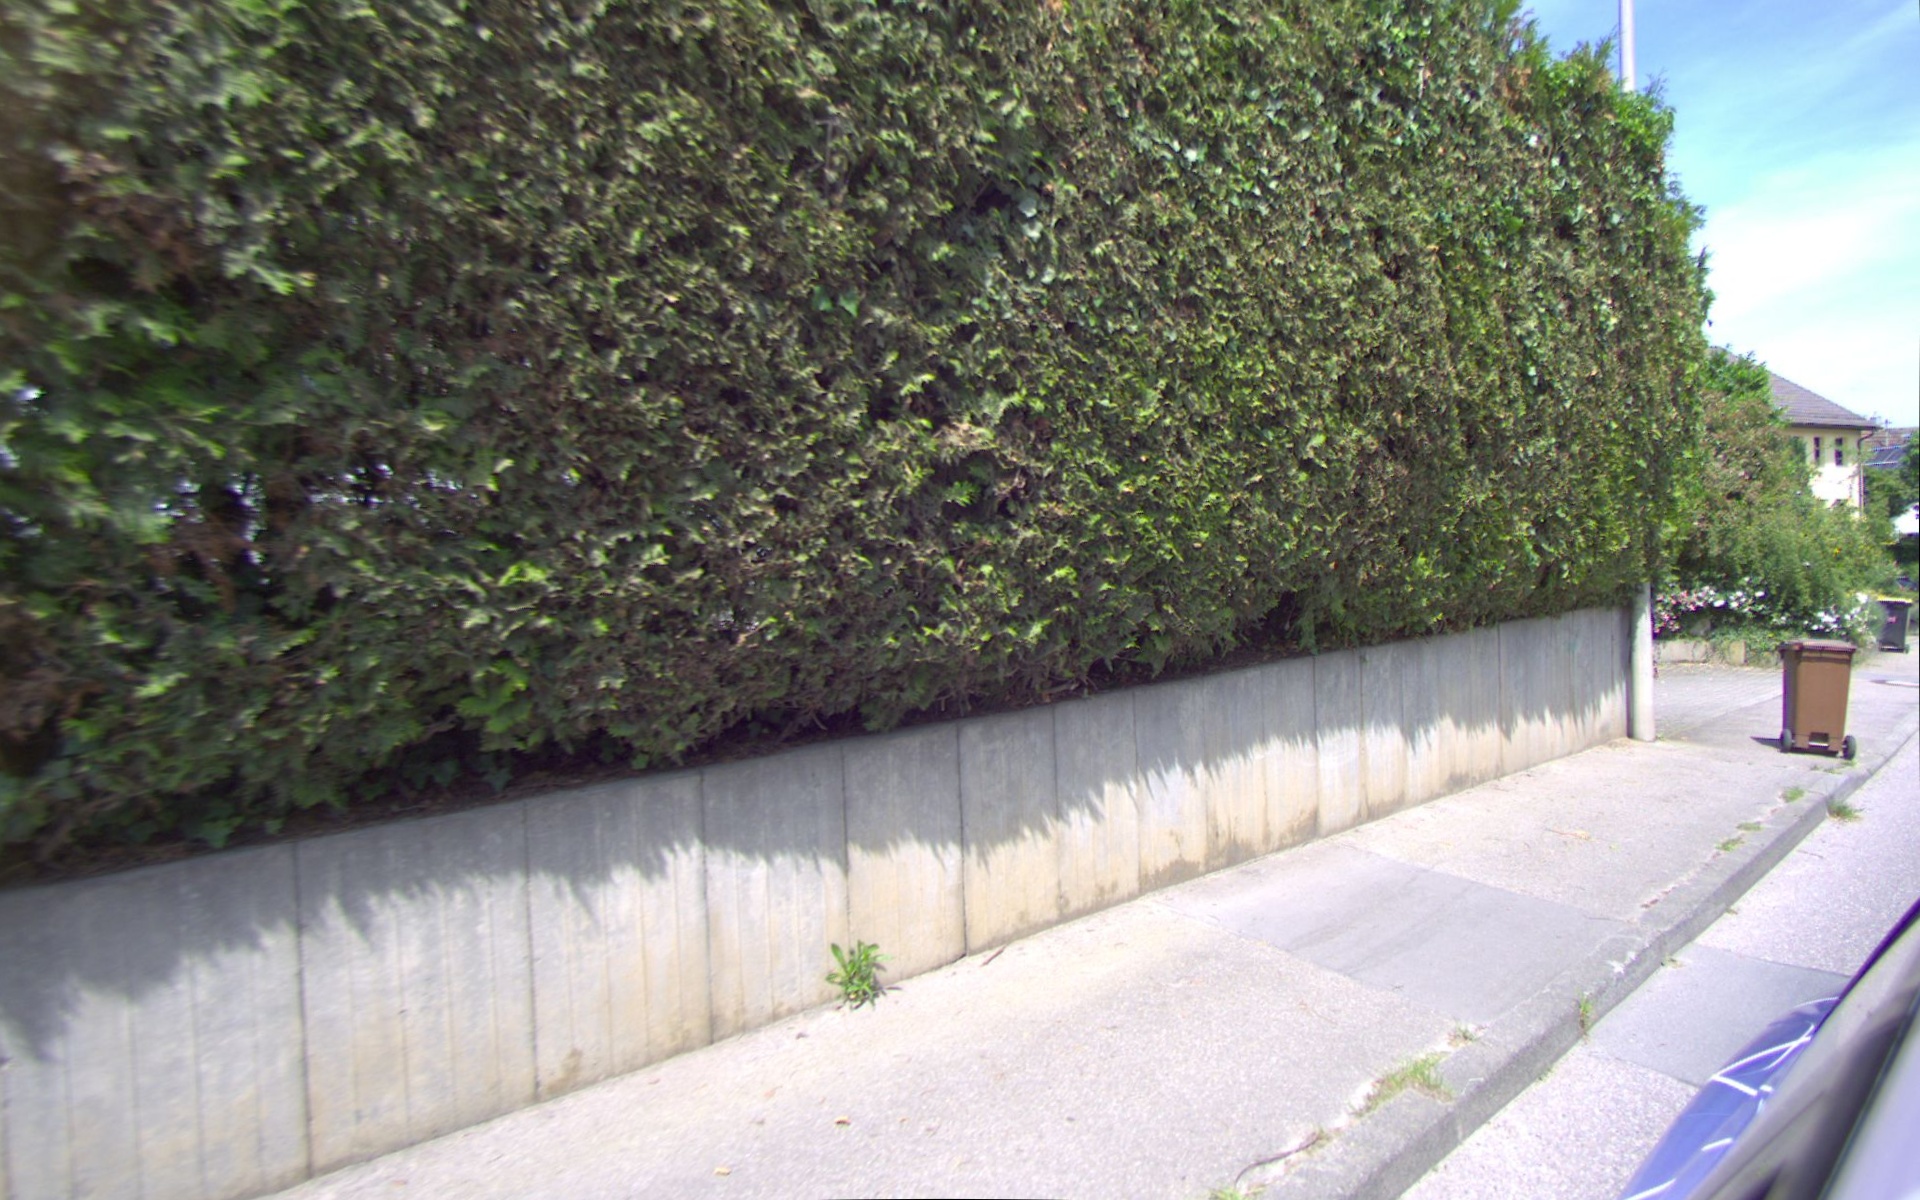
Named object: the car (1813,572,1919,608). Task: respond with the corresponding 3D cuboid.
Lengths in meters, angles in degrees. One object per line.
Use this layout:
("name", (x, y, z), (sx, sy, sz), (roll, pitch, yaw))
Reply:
("car", (38.631, -0.398, 42.666), (1.610, 1.436, 3.699), (-1, 0, -23))

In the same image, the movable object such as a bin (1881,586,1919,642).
("movable object such as a bin", (18.882, 0.264, 20.214), (0.903, 1.072, 0.589), (-2, 1, -39))

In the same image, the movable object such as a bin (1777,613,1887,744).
("movable object such as a bin", (7.369, 0.632, 8.549), (0.773, 0.989, 0.589), (-2, 3, -41))
